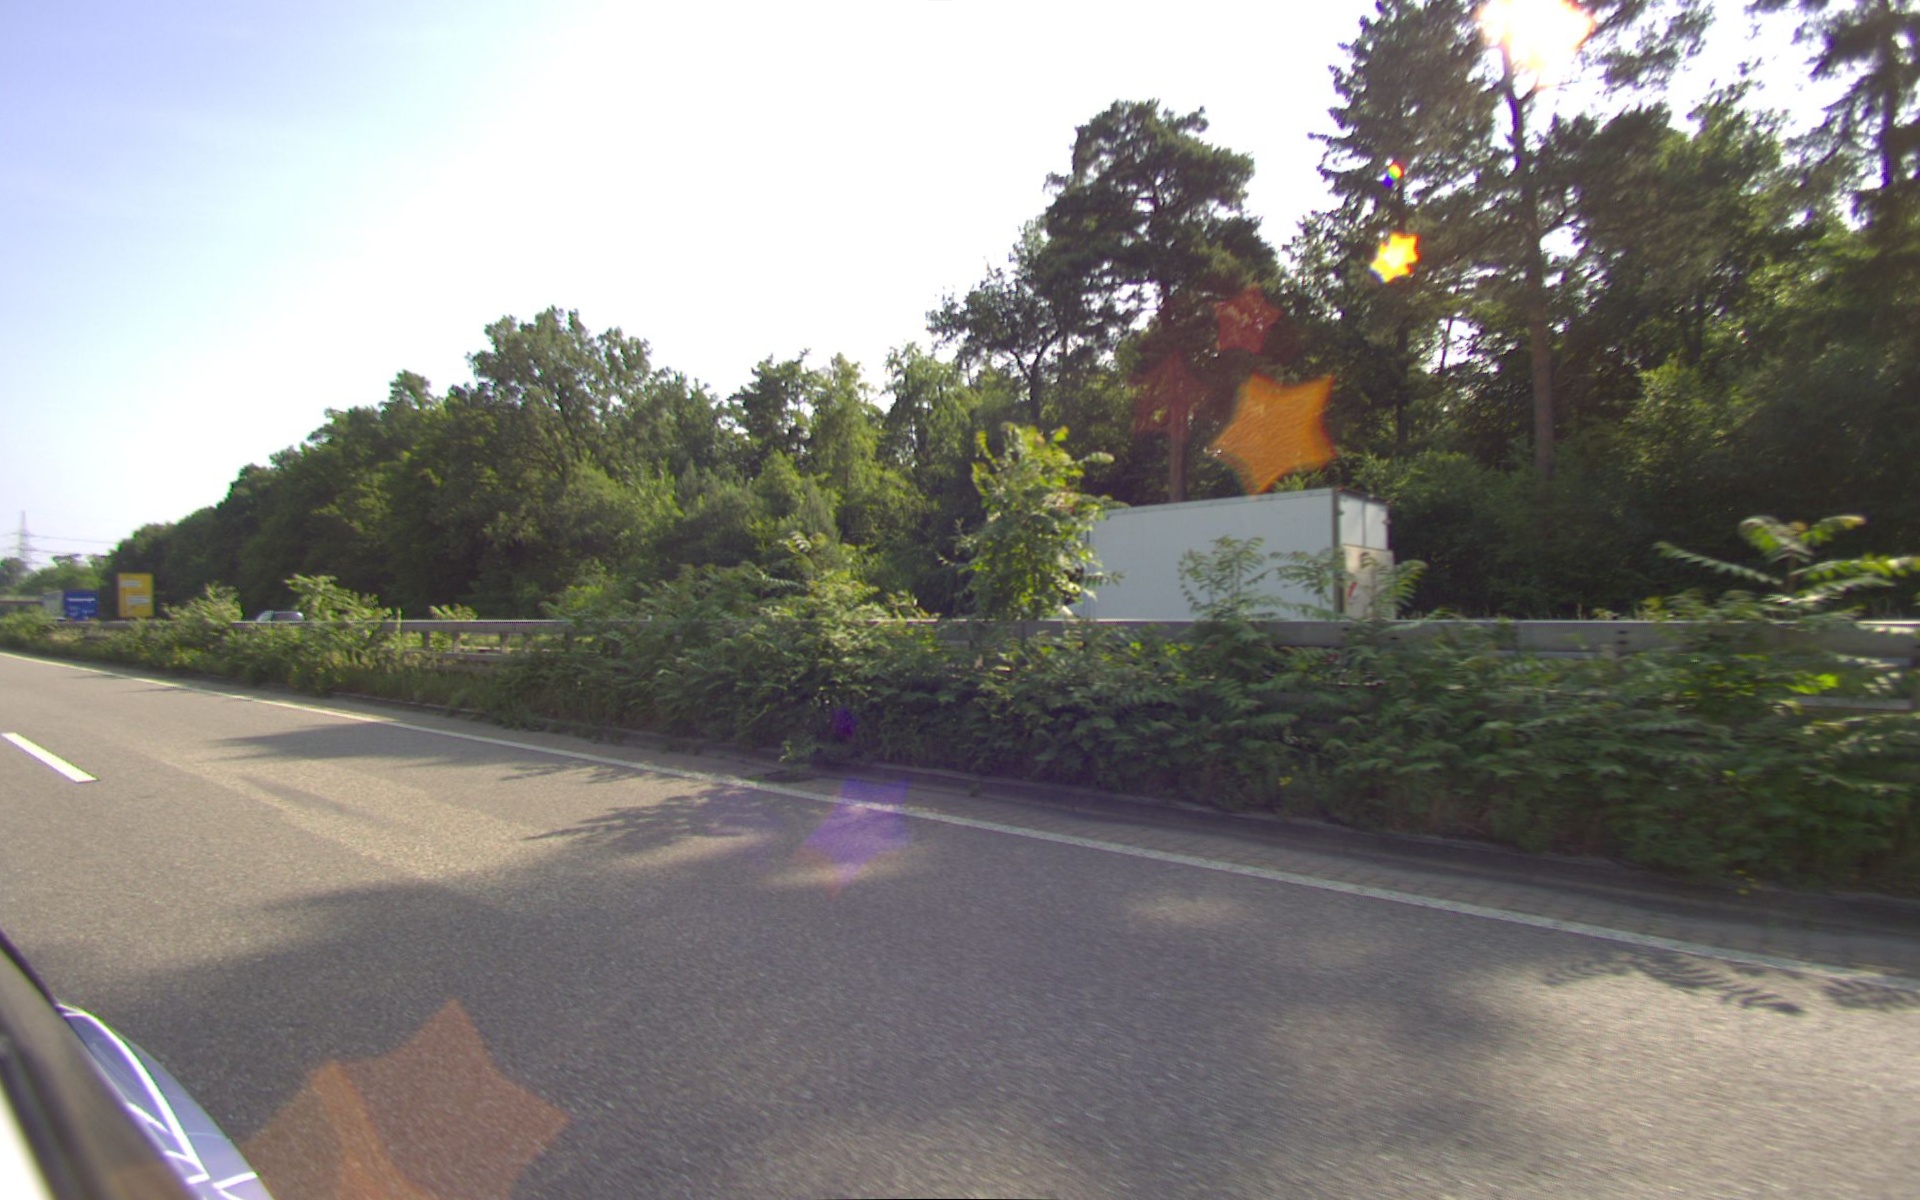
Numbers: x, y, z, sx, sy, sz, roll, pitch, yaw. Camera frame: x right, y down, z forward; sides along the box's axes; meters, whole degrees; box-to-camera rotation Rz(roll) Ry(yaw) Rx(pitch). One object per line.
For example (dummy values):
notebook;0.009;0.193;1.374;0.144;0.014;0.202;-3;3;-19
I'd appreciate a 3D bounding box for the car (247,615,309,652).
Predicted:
car;-33.612;1.640;49.845;3.502;1.704;1.634;-2;-1;40

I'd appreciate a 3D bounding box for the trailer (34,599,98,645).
trailer;-83.873;2.123;94.854;13.319;4.039;2.862;-2;-3;42

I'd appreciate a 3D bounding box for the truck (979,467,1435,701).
truck;3.858;-0.128;17.174;7.224;3.201;2.436;-1;-2;41
